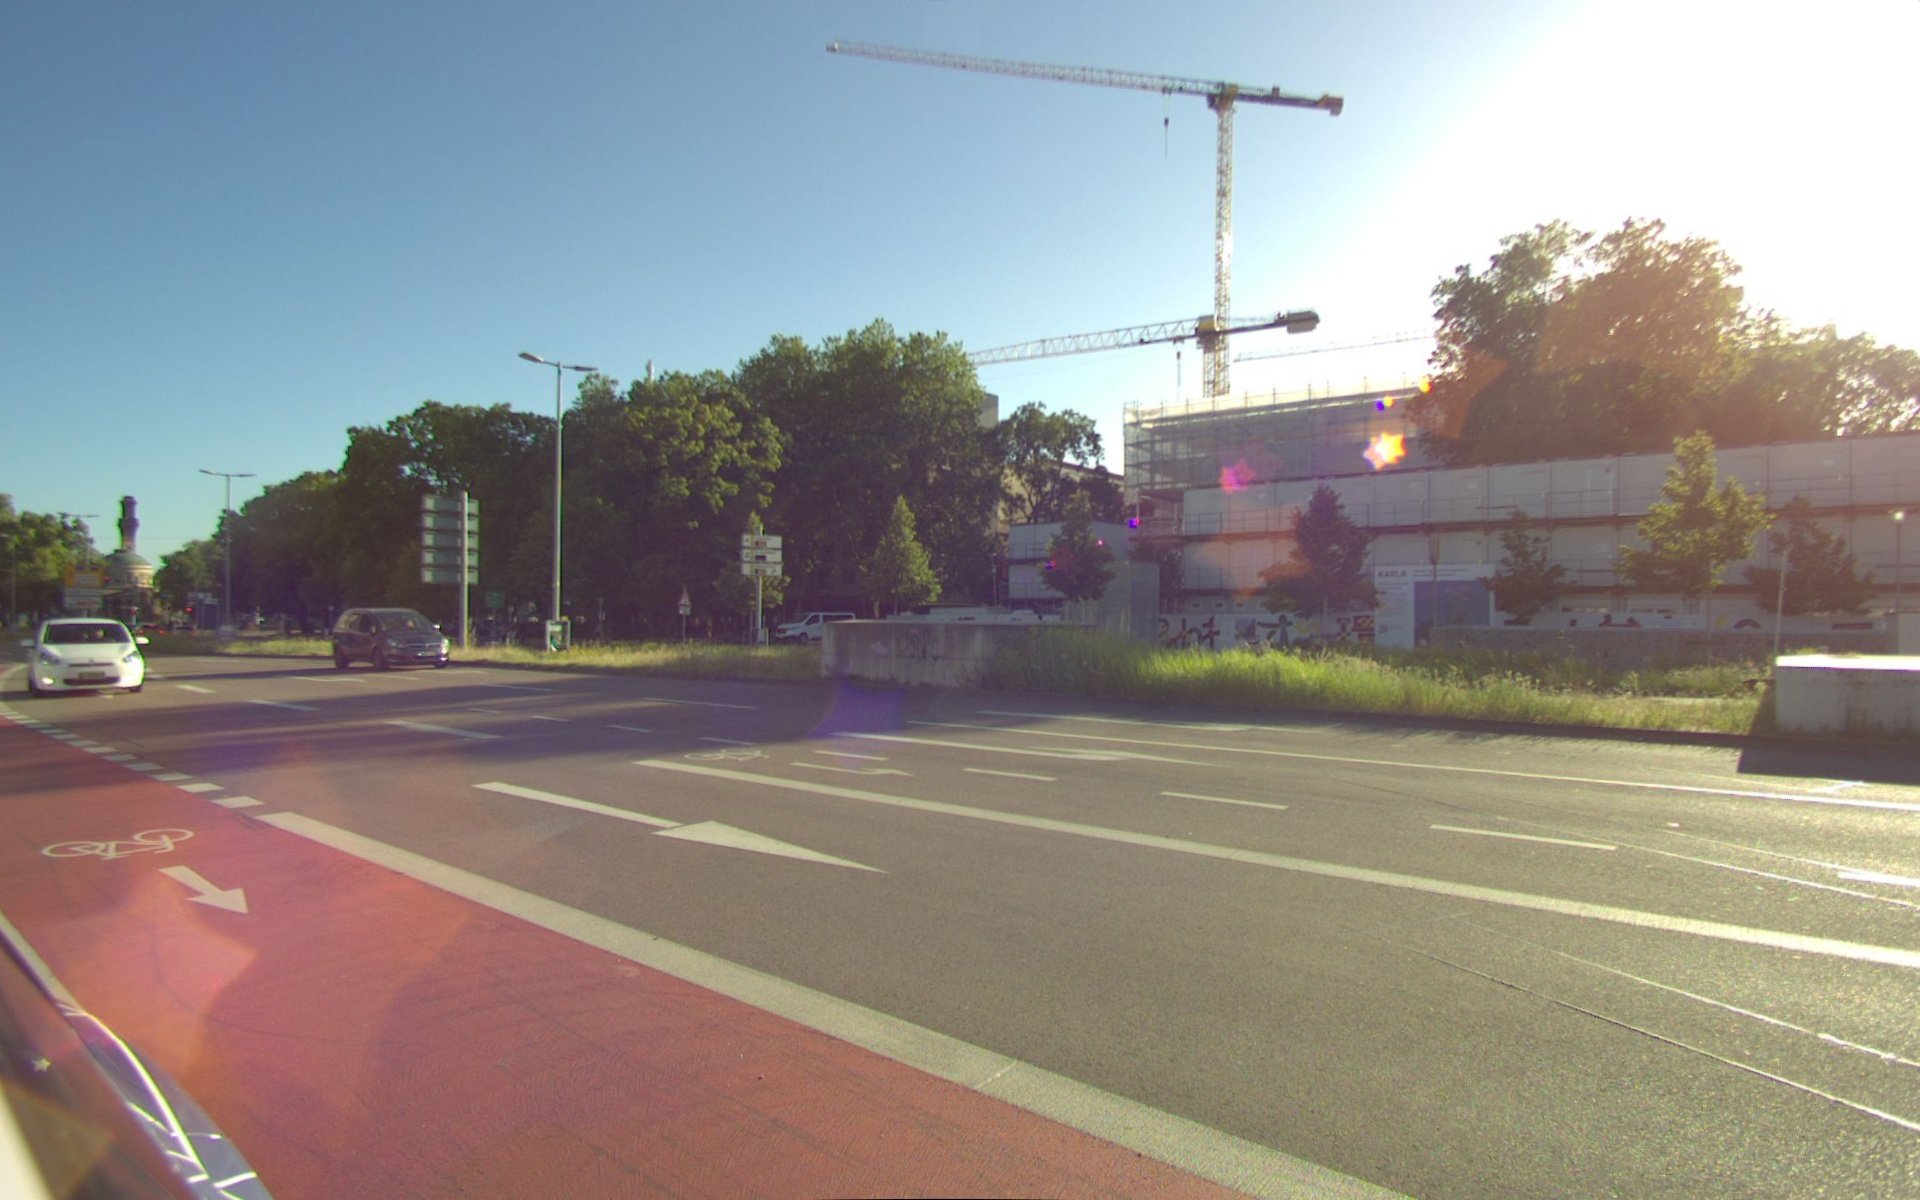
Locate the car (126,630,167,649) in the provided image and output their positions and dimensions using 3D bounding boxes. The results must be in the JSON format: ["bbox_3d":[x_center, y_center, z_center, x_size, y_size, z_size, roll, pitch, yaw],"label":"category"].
[{"bbox_3d":[-69.551,3.389,86.531,4.057,1.576,1.973,-1,-2,40],"label":"car"}]

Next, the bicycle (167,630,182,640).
[{"bbox_3d":[-93.504,4.175,120.441,0.832,1.240,2.021,1,-2,-21],"label":"bicycle"}]

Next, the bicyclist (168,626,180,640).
[{"bbox_3d":[-93.492,3.884,120.410,0.837,1.631,0.976,1,-2,-21],"label":"bicyclist"}]

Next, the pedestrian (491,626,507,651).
[{"bbox_3d":[-30.639,2.543,67.254,0.726,1.653,0.734,-2,-2,44],"label":"pedestrian"}]

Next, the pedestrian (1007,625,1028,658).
[{"bbox_3d":[2.766,1.998,48.641,0.834,1.570,0.574,-2,-3,38],"label":"pedestrian"}]

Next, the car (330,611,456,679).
[{"bbox_3d":[-15.163,1.155,26.988,3.998,1.651,1.711,-1,-1,41],"label":"car"}]

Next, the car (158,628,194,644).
[{"bbox_3d":[-76.005,3.500,98.110,4.585,1.538,1.913,-2,-2,41],"label":"car"}]

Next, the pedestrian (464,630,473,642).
[{"bbox_3d":[-56.478,4.171,116.336,0.599,1.350,0.723,-2,-2,43],"label":"pedestrian"}]

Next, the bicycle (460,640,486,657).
[{"bbox_3d":[-25.484,2.513,52.929,0.605,0.868,1.952,1,-2,-44],"label":"bicycle"}]

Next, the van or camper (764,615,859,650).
[{"bbox_3d":[-9.037,1.992,62.013,2.257,2.029,5.603,1,-1,41],"label":"van or camper"}]

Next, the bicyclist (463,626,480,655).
[{"bbox_3d":[-25.580,2.127,53.030,0.600,1.500,0.681,1,-2,-45],"label":"bicyclist"}]

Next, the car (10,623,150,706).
[{"bbox_3d":[-17.634,1.217,20.233,3.764,1.475,1.657,-1,-1,41],"label":"car"}]

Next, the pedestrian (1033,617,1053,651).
[{"bbox_3d":[4.174,1.726,50.834,0.834,1.701,0.574,-2,-3,38],"label":"pedestrian"}]

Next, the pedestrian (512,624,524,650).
[{"bbox_3d":[-29.884,2.528,68.483,0.655,1.754,0.518,-2,-2,44],"label":"pedestrian"}]

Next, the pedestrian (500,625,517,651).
[{"bbox_3d":[-30.357,2.527,68.037,0.761,1.754,0.763,-2,-2,44],"label":"pedestrian"}]
